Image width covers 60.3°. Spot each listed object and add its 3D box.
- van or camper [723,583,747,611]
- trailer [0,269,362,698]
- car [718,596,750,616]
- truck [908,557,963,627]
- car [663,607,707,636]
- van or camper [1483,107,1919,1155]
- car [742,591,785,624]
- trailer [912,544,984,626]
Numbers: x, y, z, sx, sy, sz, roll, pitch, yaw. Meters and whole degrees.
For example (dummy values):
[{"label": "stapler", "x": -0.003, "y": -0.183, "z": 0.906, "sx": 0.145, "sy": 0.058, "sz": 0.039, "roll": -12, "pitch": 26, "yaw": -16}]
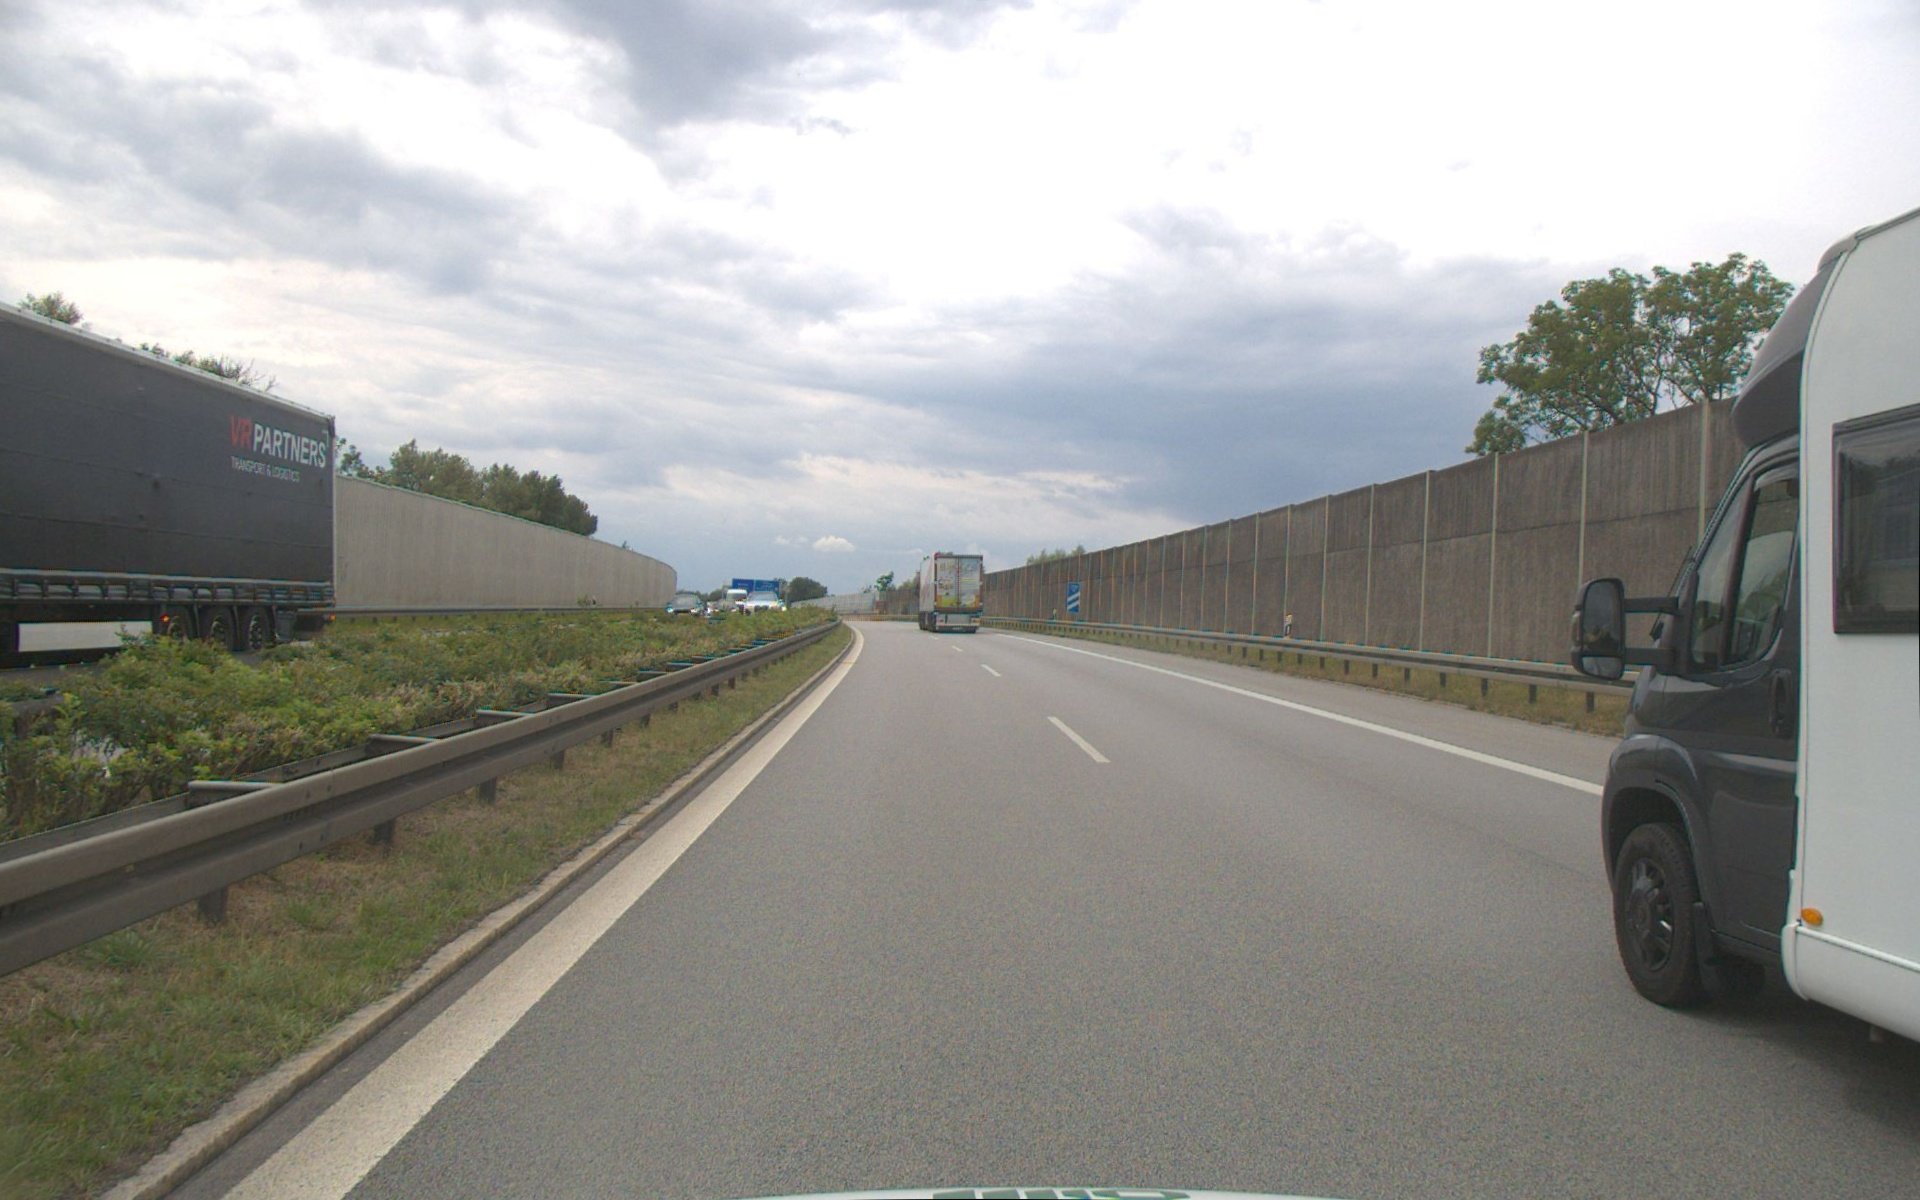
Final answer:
[{"label": "van or camper", "x": -20.412, "y": -0.230, "z": 150.014, "sx": 1.955, "sy": 2.484, "sz": 6.301, "roll": 0, "pitch": 0, "yaw": -6}, {"label": "trailer", "x": -11.295, "y": -1.189, "z": 20.706, "sx": 2.921, "sy": 4.314, "sz": 14.173, "roll": 1, "pitch": 0, "yaw": -2}, {"label": "car", "x": -16.605, "y": 0.452, "z": 121.851, "sx": 1.954, "sy": 1.388, "sz": 4.964, "roll": 2, "pitch": 0, "yaw": -4}, {"label": "truck", "x": -1.496, "y": -0.414, "z": 99.284, "sx": 2.703, "sy": 4.029, "sz": 5.668, "roll": 1, "pitch": -1, "yaw": -7}, {"label": "car", "x": -14.224, "y": 1.116, "z": 85.702, "sx": 1.688, "sy": 1.442, "sz": 4.552, "roll": 0, "pitch": 0, "yaw": -3}, {"label": "van or camper", "x": 3.712, "y": 0.095, "z": 4.040, "sx": 2.380, "sy": 2.744, "sz": 7.223, "roll": 1, "pitch": 0, "yaw": -1}, {"label": "car", "x": -10.762, "y": 0.429, "z": 90.820, "sx": 1.924, "sy": 1.699, "sz": 4.921, "roll": 2, "pitch": 0, "yaw": -2}, {"label": "trailer", "x": -0.828, "y": -0.697, "z": 92.822, "sx": 2.738, "sy": 4.248, "sz": 14.085, "roll": 1, "pitch": -1, "yaw": -6}]
